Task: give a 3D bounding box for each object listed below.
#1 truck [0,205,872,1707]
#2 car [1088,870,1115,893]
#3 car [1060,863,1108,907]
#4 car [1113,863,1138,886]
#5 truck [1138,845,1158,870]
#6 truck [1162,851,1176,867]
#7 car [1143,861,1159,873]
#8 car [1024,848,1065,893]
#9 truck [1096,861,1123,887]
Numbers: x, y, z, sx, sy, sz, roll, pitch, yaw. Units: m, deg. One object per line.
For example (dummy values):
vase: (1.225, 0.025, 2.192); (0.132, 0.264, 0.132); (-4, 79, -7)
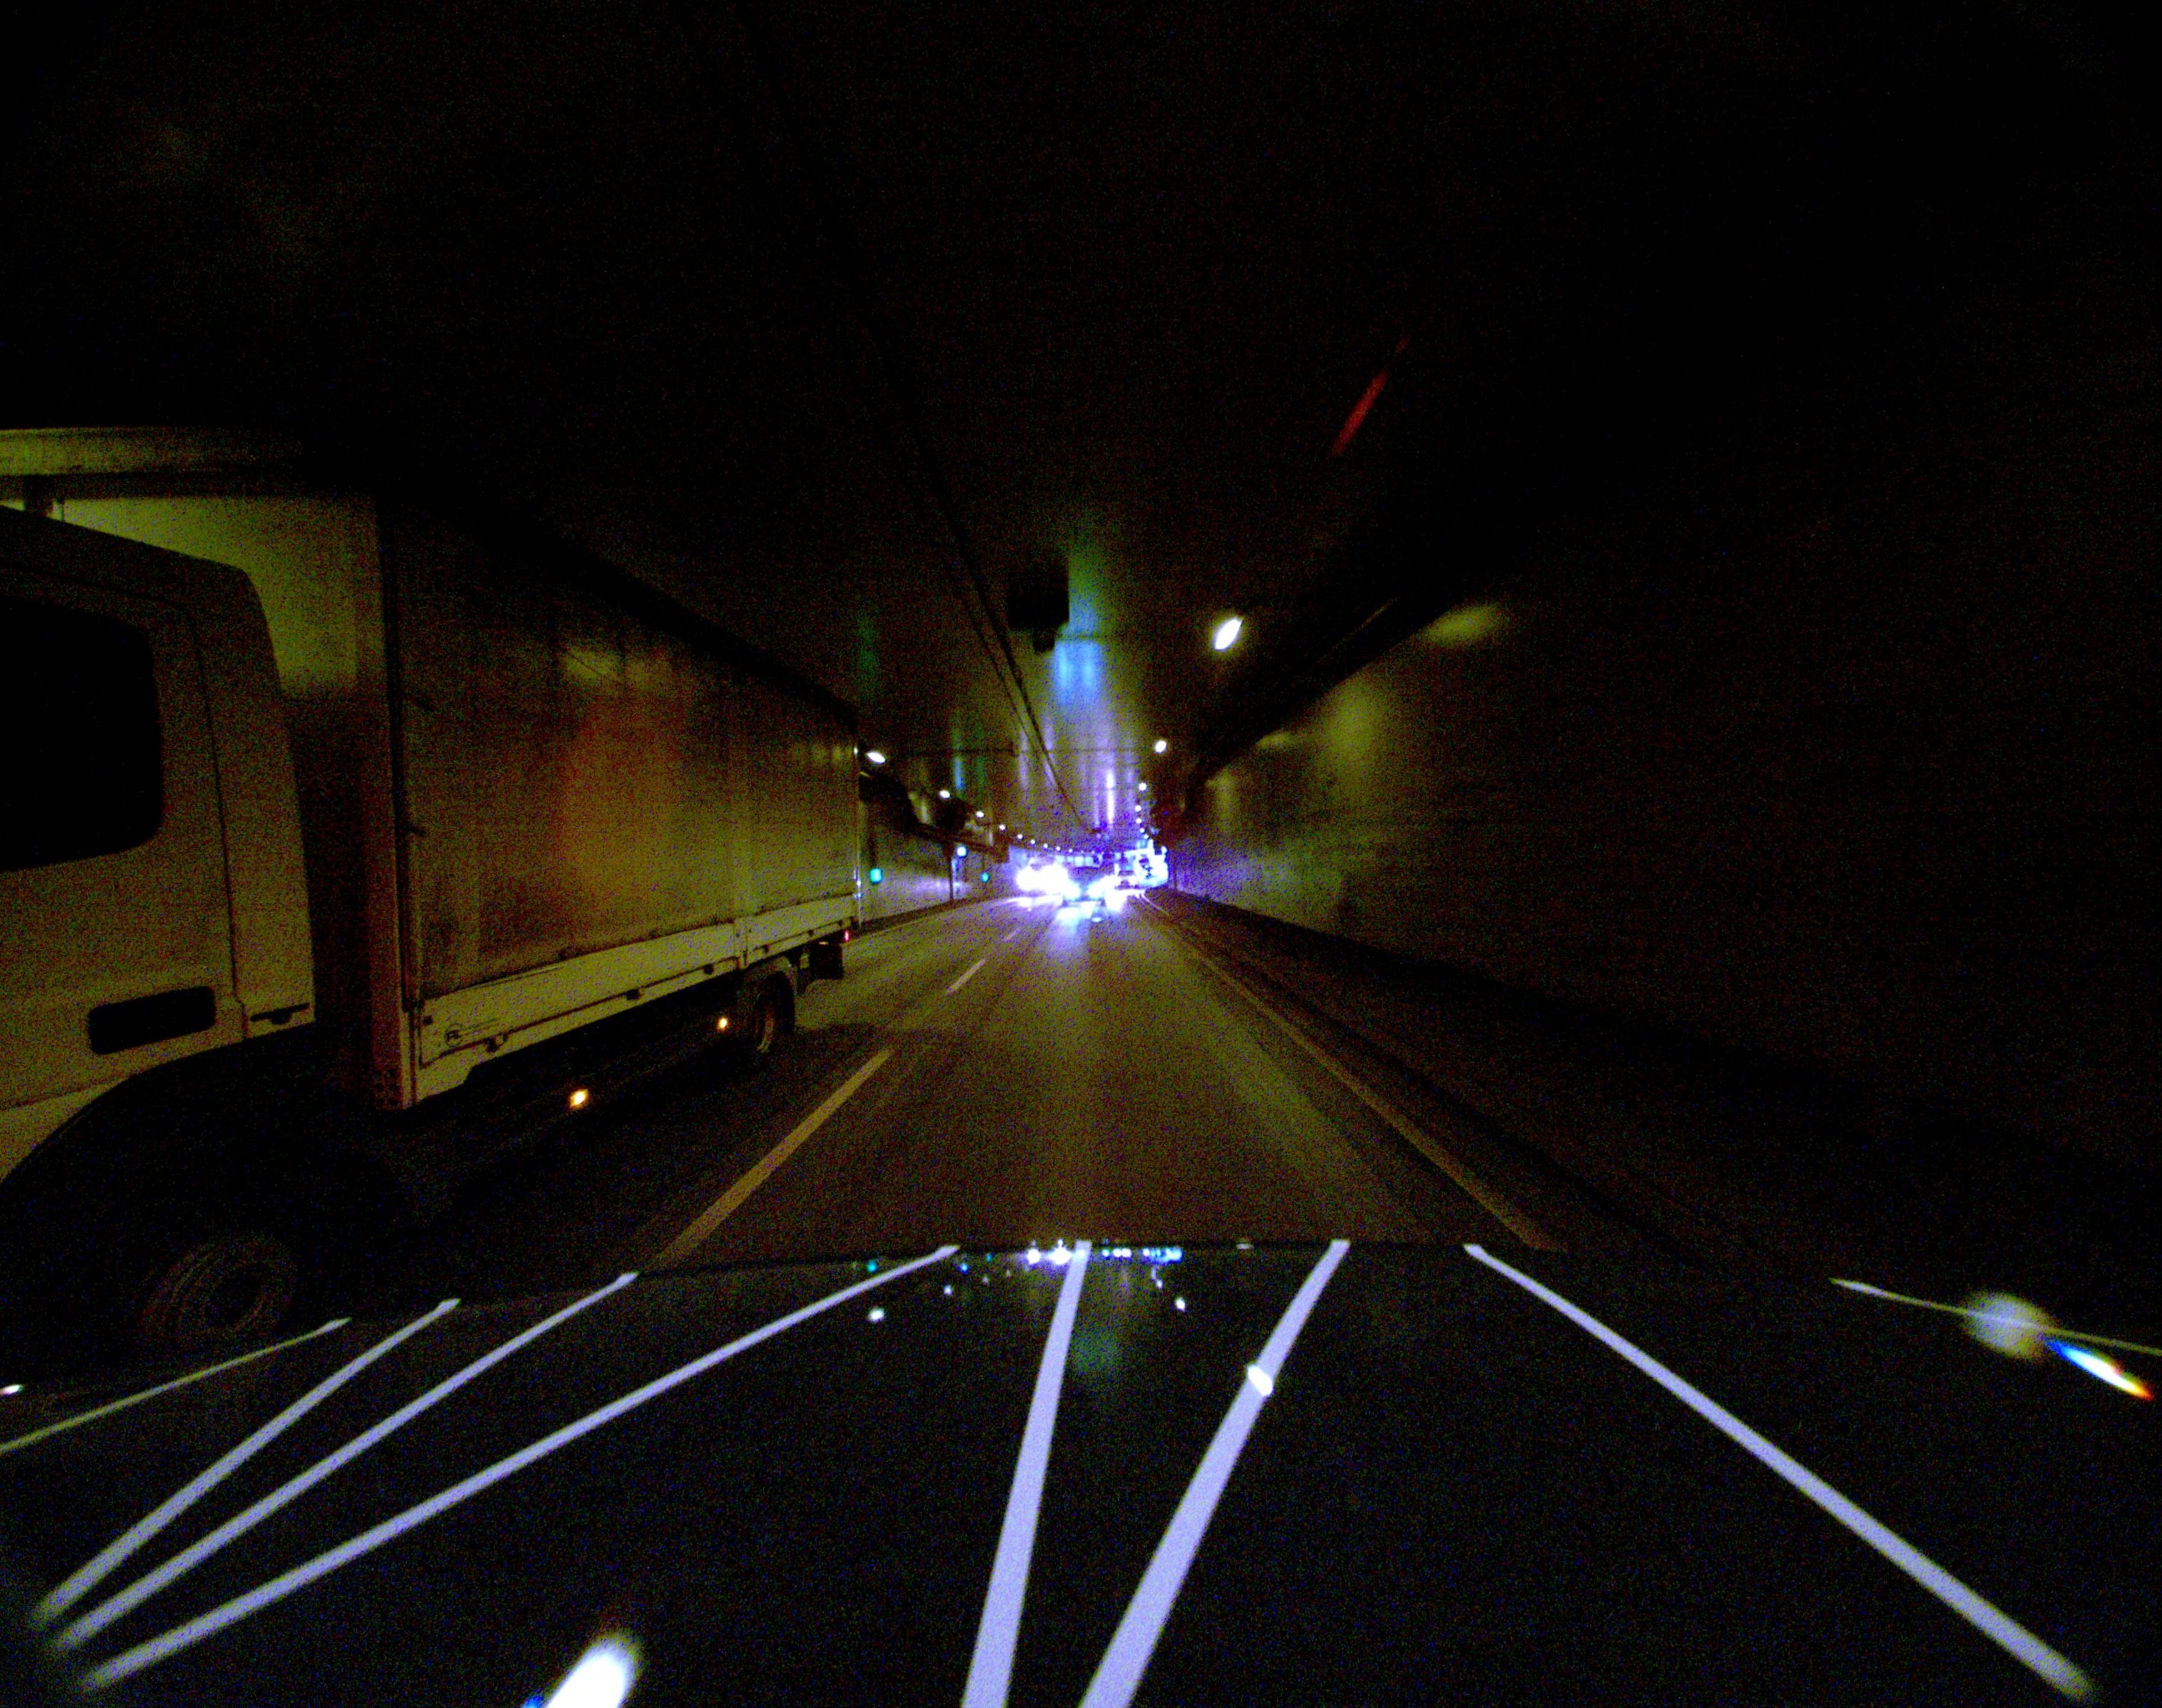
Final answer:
truck: (-3.531, 0.246, 4.230); (2.560, 3.162, 7.246); (-2, 0, 1)
car: (1.612, 2.111, 58.479); (1.764, 1.551, 3.821); (-5, -2, 5)
car: (0.179, 1.167, 29.777); (1.639, 1.551, 3.718); (-2, -1, 3)
car: (4.113, 1.859, 69.624); (1.934, 1.918, 4.199); (-2, 0, 8)
truck: (13.679, 0.704, 154.922); (2.885, 4.447, 10.457); (-5, 2, 10)
truck: (18.310, 1.029, 157.839); (2.137, 2.713, 5.674); (-4, 2, 12)
car: (11.789, 2.210, 127.425); (1.948, 1.525, 4.001); (-5, 2, 13)
car: (-2.396, 1.190, 52.134); (2.106, 2.829, 6.864); (-2, -2, 2)
truck: (3.072, 2.072, 80.942); (2.073, 2.524, 6.029); (-5, -2, 8)
